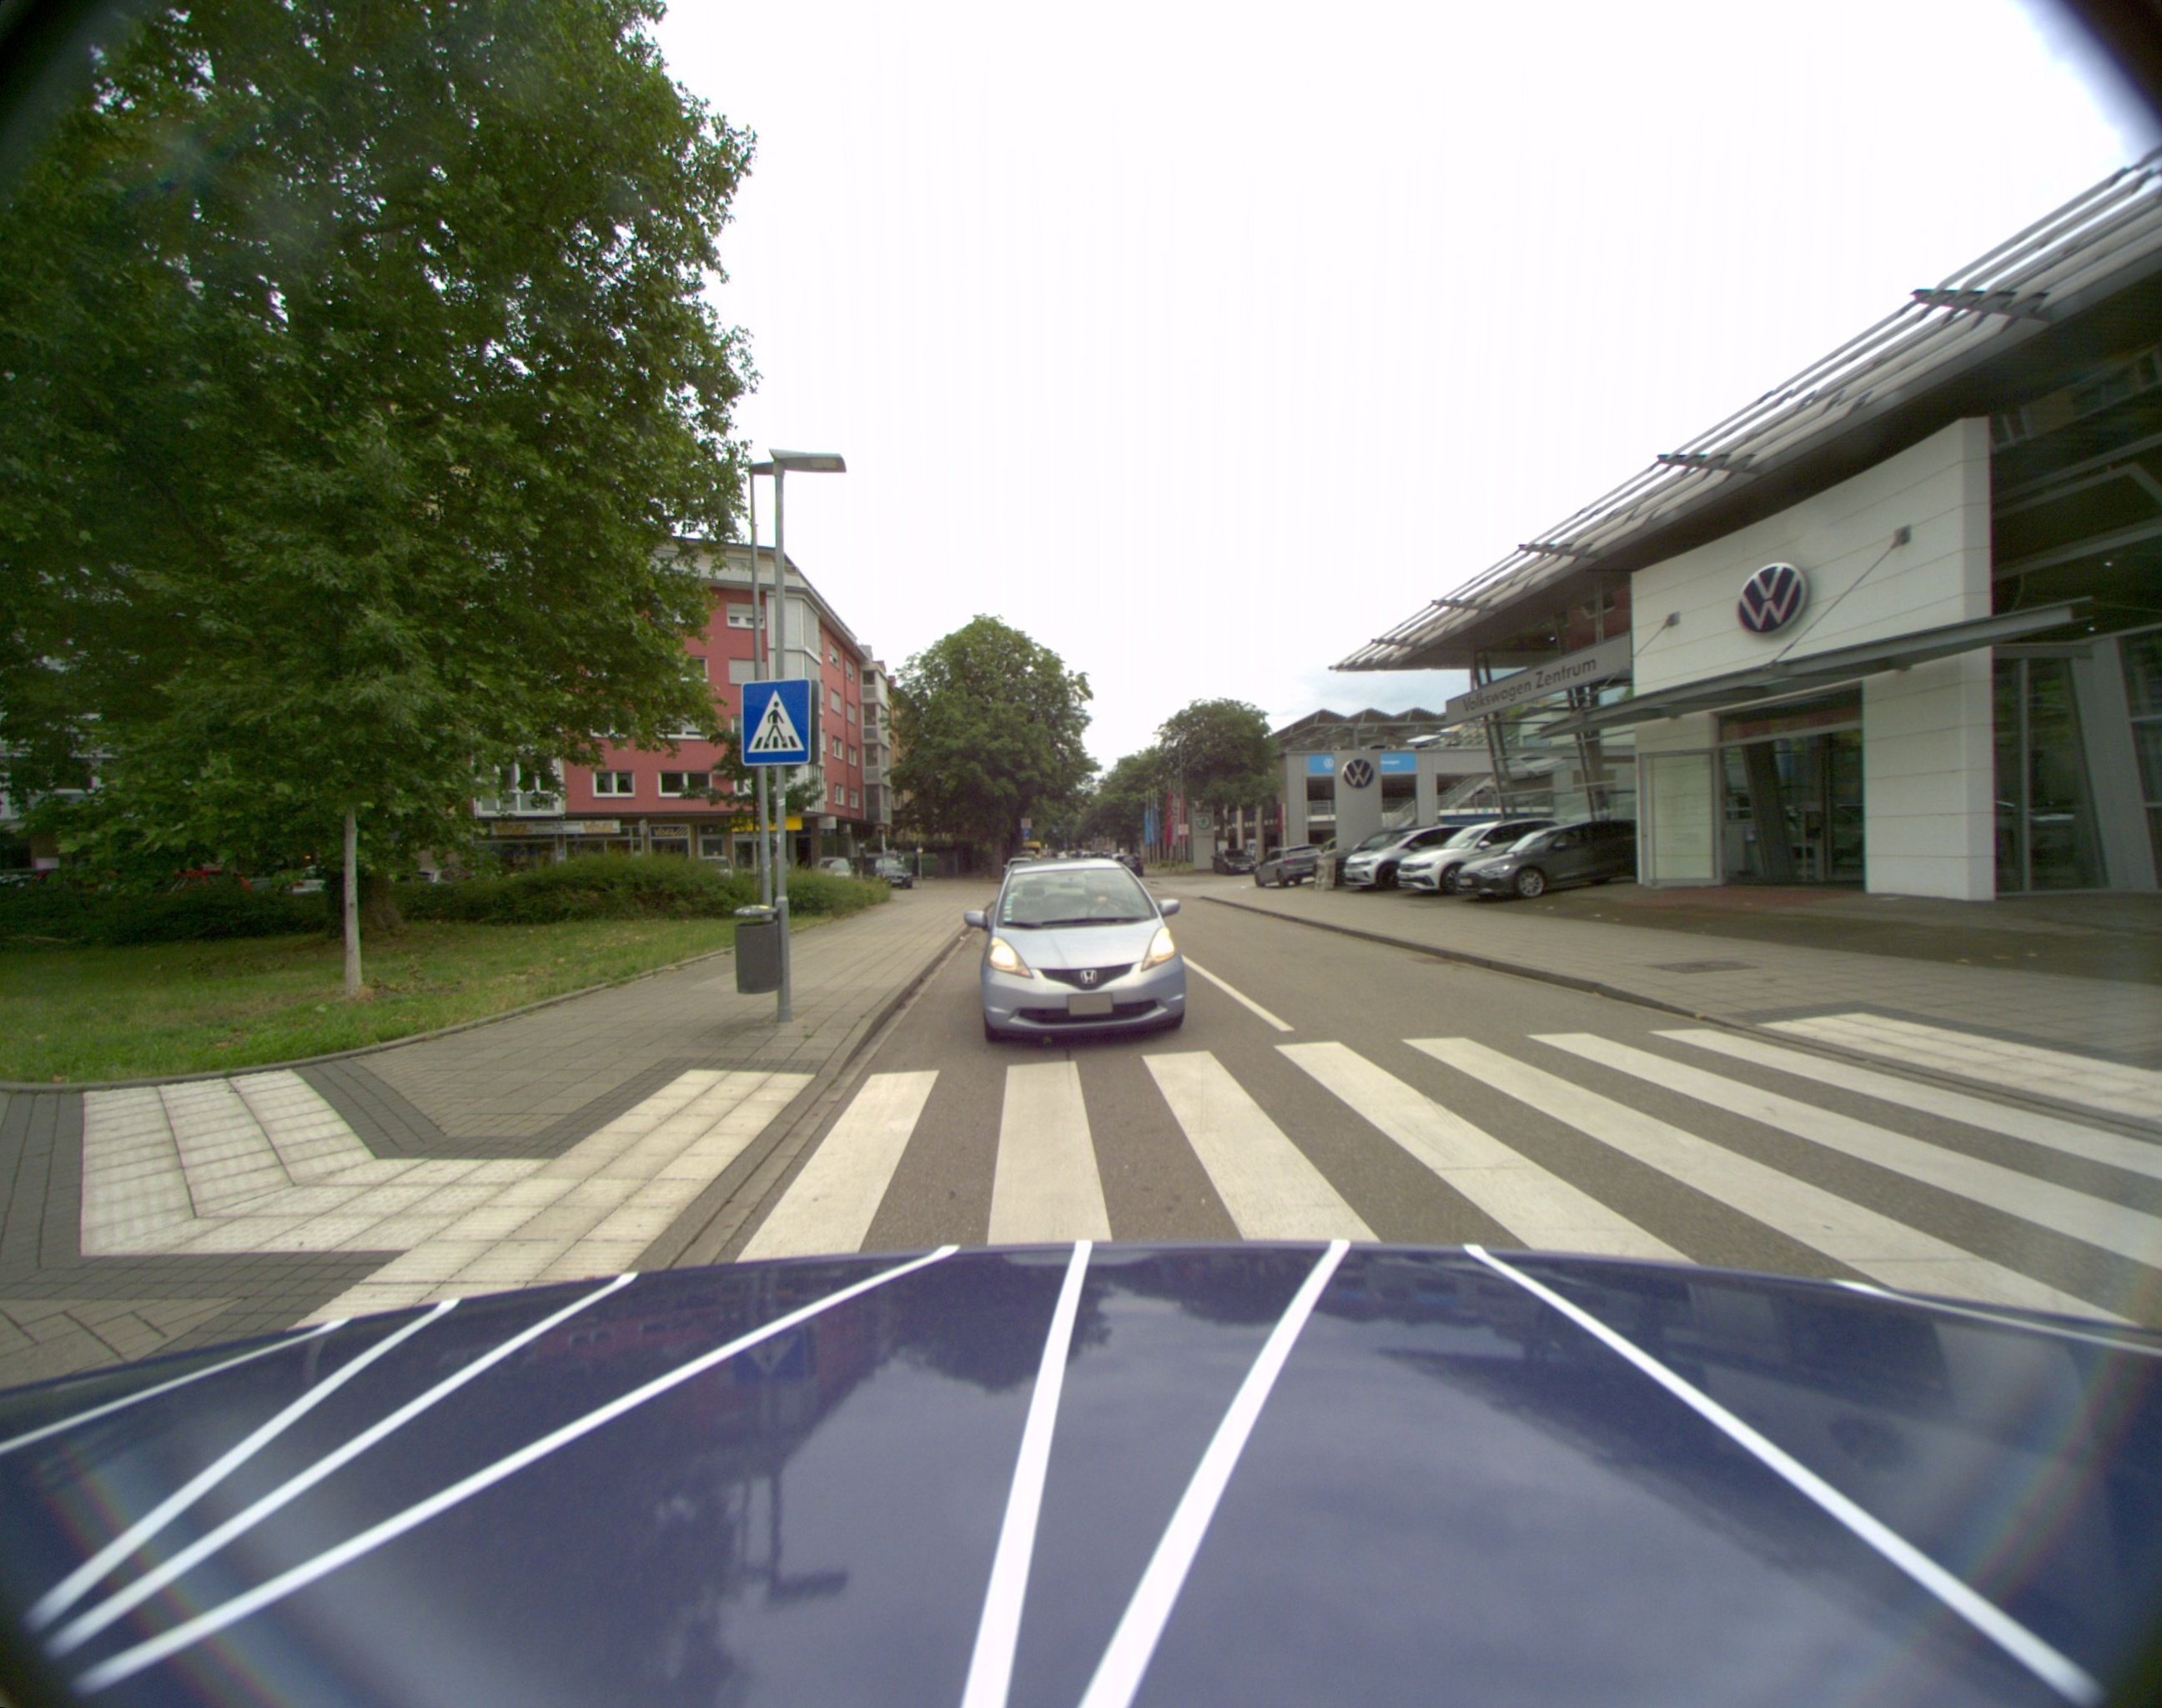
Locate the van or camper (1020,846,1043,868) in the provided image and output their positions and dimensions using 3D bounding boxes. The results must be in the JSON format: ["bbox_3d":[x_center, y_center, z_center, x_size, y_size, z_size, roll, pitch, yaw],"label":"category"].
[{"bbox_3d":[-4.567,0.260,70.893,1.999,2.002,3.998,-2,1,-3],"label":"van or camper"}]

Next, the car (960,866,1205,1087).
[{"bbox_3d":[-0.149,0.932,7.697,1.754,1.458,4.096,-3,1,-5],"label":"car"}]

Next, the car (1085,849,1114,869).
[{"bbox_3d":[1.541,0.419,66.036,1.860,1.614,4.472,-3,1,-6],"label":"car"}]

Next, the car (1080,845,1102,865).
[{"bbox_3d":[1.048,0.083,83.595,1.860,1.974,4.472,-3,1,-6],"label":"car"}]

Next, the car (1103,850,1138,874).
[{"bbox_3d":[2.875,0.548,55.958,1.860,1.614,4.472,-3,1,-6],"label":"car"}]

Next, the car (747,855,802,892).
[{"bbox_3d":[-14.068,0.837,34.736,1.864,1.539,4.466,-2,1,-28],"label":"car"}]

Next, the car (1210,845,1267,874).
[{"bbox_3d":[9.088,0.291,44.269,1.898,1.539,4.472,-3,1,-6],"label":"car"}]

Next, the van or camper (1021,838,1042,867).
[{"bbox_3d":[-4.895,-0.169,75.657,1.999,2.756,3.998,-2,1,-3],"label":"van or camper"}]

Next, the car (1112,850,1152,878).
[{"bbox_3d":[3.310,0.605,50.133,1.860,1.614,4.472,-3,1,-6],"label":"car"}]

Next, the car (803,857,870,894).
[{"bbox_3d":[-11.677,0.959,36.140,1.864,1.539,4.464,-2,2,-33],"label":"car"}]

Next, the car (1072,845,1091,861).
[{"bbox_3d":[0.012,-0.144,104.200,2.023,1.974,4.780,-3,1,-6],"label":"car"}]

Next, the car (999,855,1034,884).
[{"bbox_3d":[-3.631,0.844,43.160,1.860,1.539,4.473,0,1,-4],"label":"car"}]

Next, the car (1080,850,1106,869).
[{"bbox_3d":[1.067,0.490,70.930,1.860,1.614,4.472,-3,1,-6],"label":"car"}]

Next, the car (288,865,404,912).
[{"bbox_3d":[-27.770,1.227,28.893,1.863,1.539,4.466,-2,1,-26],"label":"car"}]

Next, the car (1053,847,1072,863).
[{"bbox_3d":[-2.390,0.074,97.790,2.023,1.974,4.780,-3,1,-6],"label":"car"}]

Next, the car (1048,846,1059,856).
[{"bbox_3d":[-5.978,-0.640,163.475,2.023,1.974,4.780,-3,1,-6],"label":"car"}]

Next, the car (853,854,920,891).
[{"bbox_3d":[-9.472,0.839,36.784,1.864,1.539,4.464,-2,2,-31],"label":"car"}]

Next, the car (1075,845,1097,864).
[{"bbox_3d":[0.590,0.032,89.324,2.023,1.974,4.780,-3,1,-6],"label":"car"}]

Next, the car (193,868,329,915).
[{"bbox_3d":[-29.796,1.292,27.816,1.863,1.481,4.466,-2,1,-26],"label":"car"}]

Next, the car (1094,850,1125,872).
[{"bbox_3d":[2.256,0.512,61.165,1.860,1.614,4.472,-3,1,-6],"label":"car"}]

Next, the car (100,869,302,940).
[{"bbox_3d":[-23.011,1.231,20.154,1.863,1.539,4.466,-2,1,-26],"label":"car"}]

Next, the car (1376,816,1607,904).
[{"bbox_3d":[10.259,0.138,19.217,4.773,1.689,1.860,-5,0,-4],"label":"car"}]

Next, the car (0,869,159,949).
[{"bbox_3d":[-25.554,1.295,18.748,1.863,1.712,4.466,-2,1,-26],"label":"car"}]

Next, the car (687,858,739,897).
[{"bbox_3d":[-16.289,0.971,33.532,1.864,1.539,4.466,-2,1,-28],"label":"car"}]

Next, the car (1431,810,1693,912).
[{"bbox_3d":[10.306,0.135,16.488,4.474,1.687,1.897,-5,0,-4],"label":"car"}]

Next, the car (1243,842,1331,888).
[{"bbox_3d":[7.883,0.408,29.493,1.919,1.554,4.012,-3,0,-6],"label":"car"}]

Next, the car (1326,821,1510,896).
[{"bbox_3d":[9.766,0.126,22.233,4.473,1.689,1.869,-5,0,-3],"label":"car"}]
